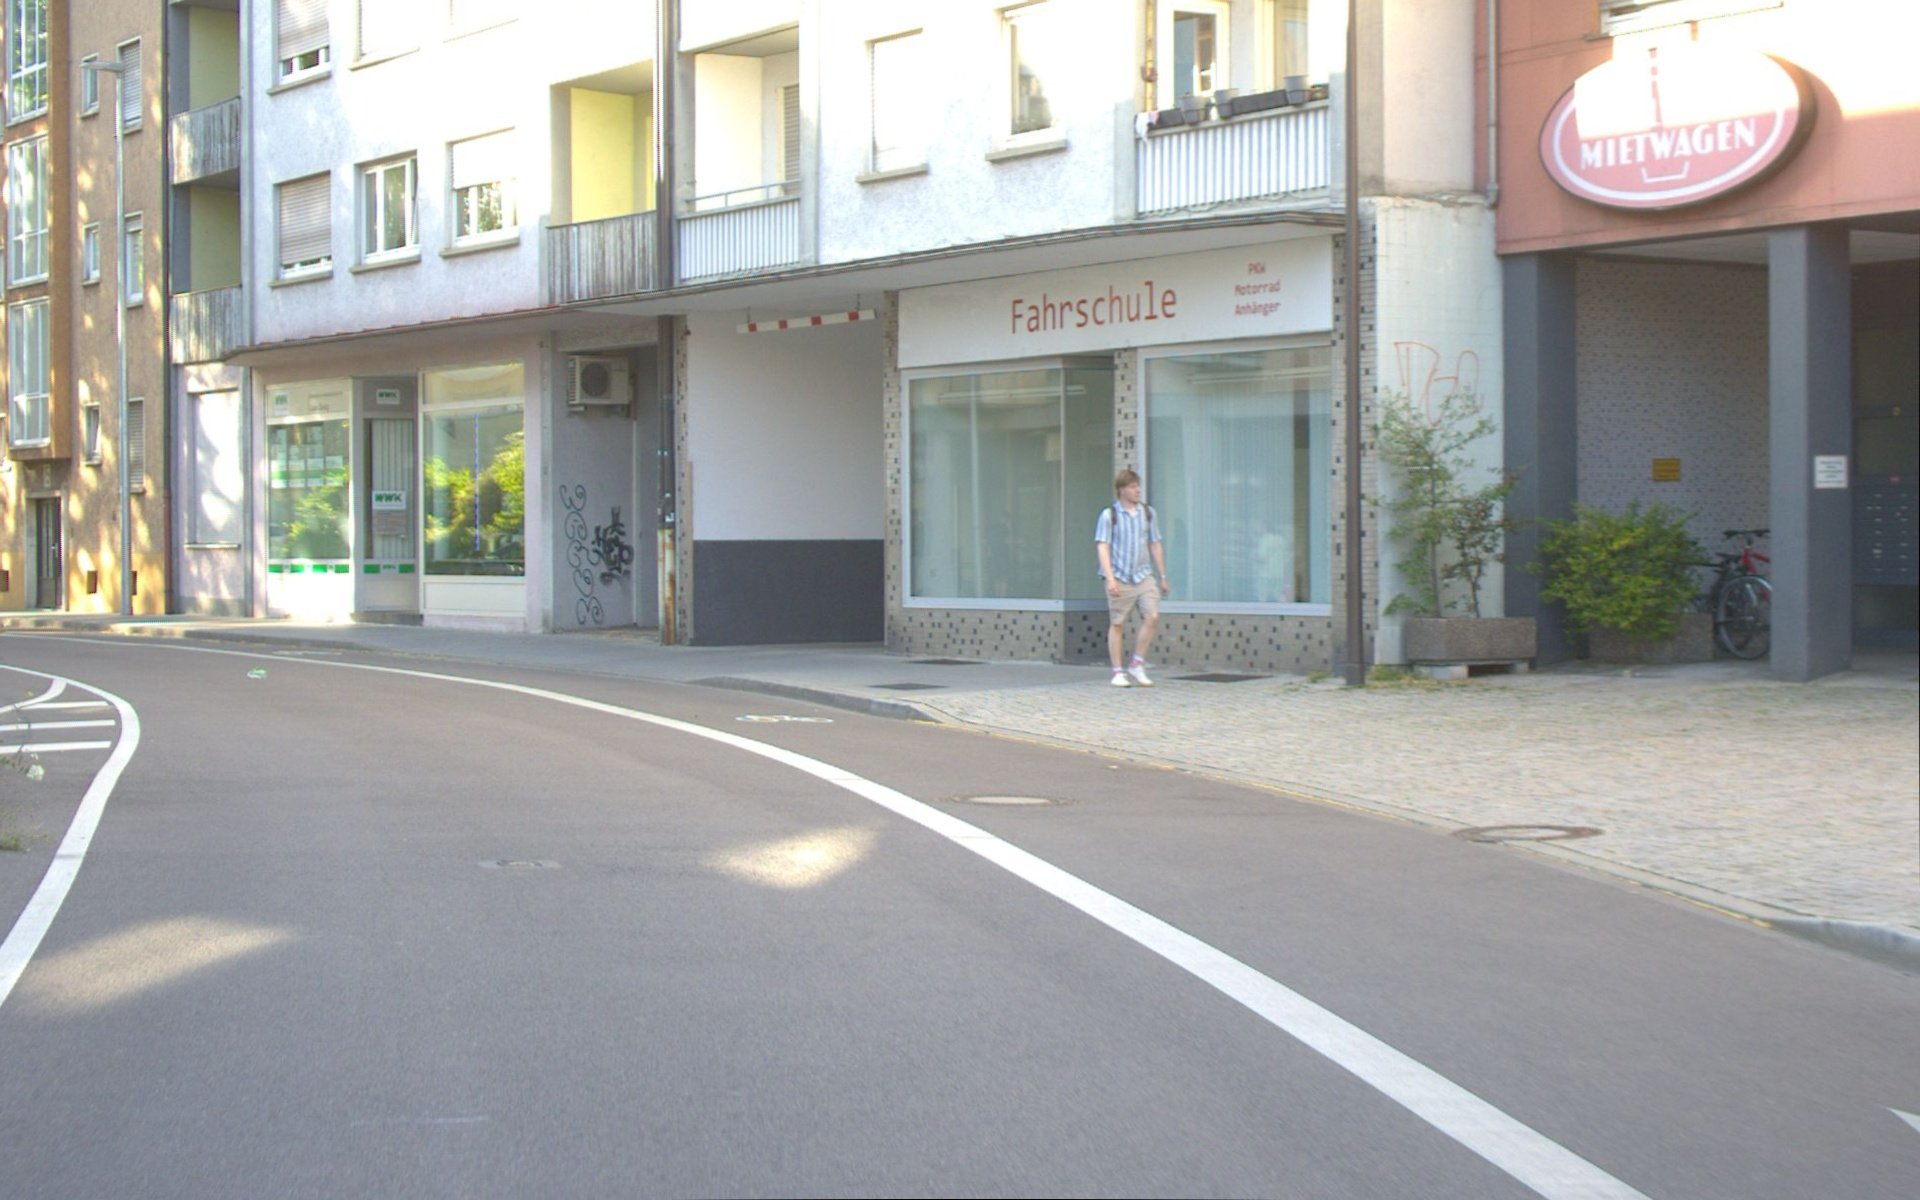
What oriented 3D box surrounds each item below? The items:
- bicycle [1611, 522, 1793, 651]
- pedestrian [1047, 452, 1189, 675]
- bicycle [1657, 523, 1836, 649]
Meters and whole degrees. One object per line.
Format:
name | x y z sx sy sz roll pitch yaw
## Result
bicycle | 6.321 -0.130 29.368 0.494 1.035 1.638 -1 3 -32
pedestrian | 1.351 -0.324 29.465 0.731 1.848 0.948 -4 3 -33
bicycle | 6.872 -0.141 30.114 0.494 1.035 1.638 -1 3 -32
